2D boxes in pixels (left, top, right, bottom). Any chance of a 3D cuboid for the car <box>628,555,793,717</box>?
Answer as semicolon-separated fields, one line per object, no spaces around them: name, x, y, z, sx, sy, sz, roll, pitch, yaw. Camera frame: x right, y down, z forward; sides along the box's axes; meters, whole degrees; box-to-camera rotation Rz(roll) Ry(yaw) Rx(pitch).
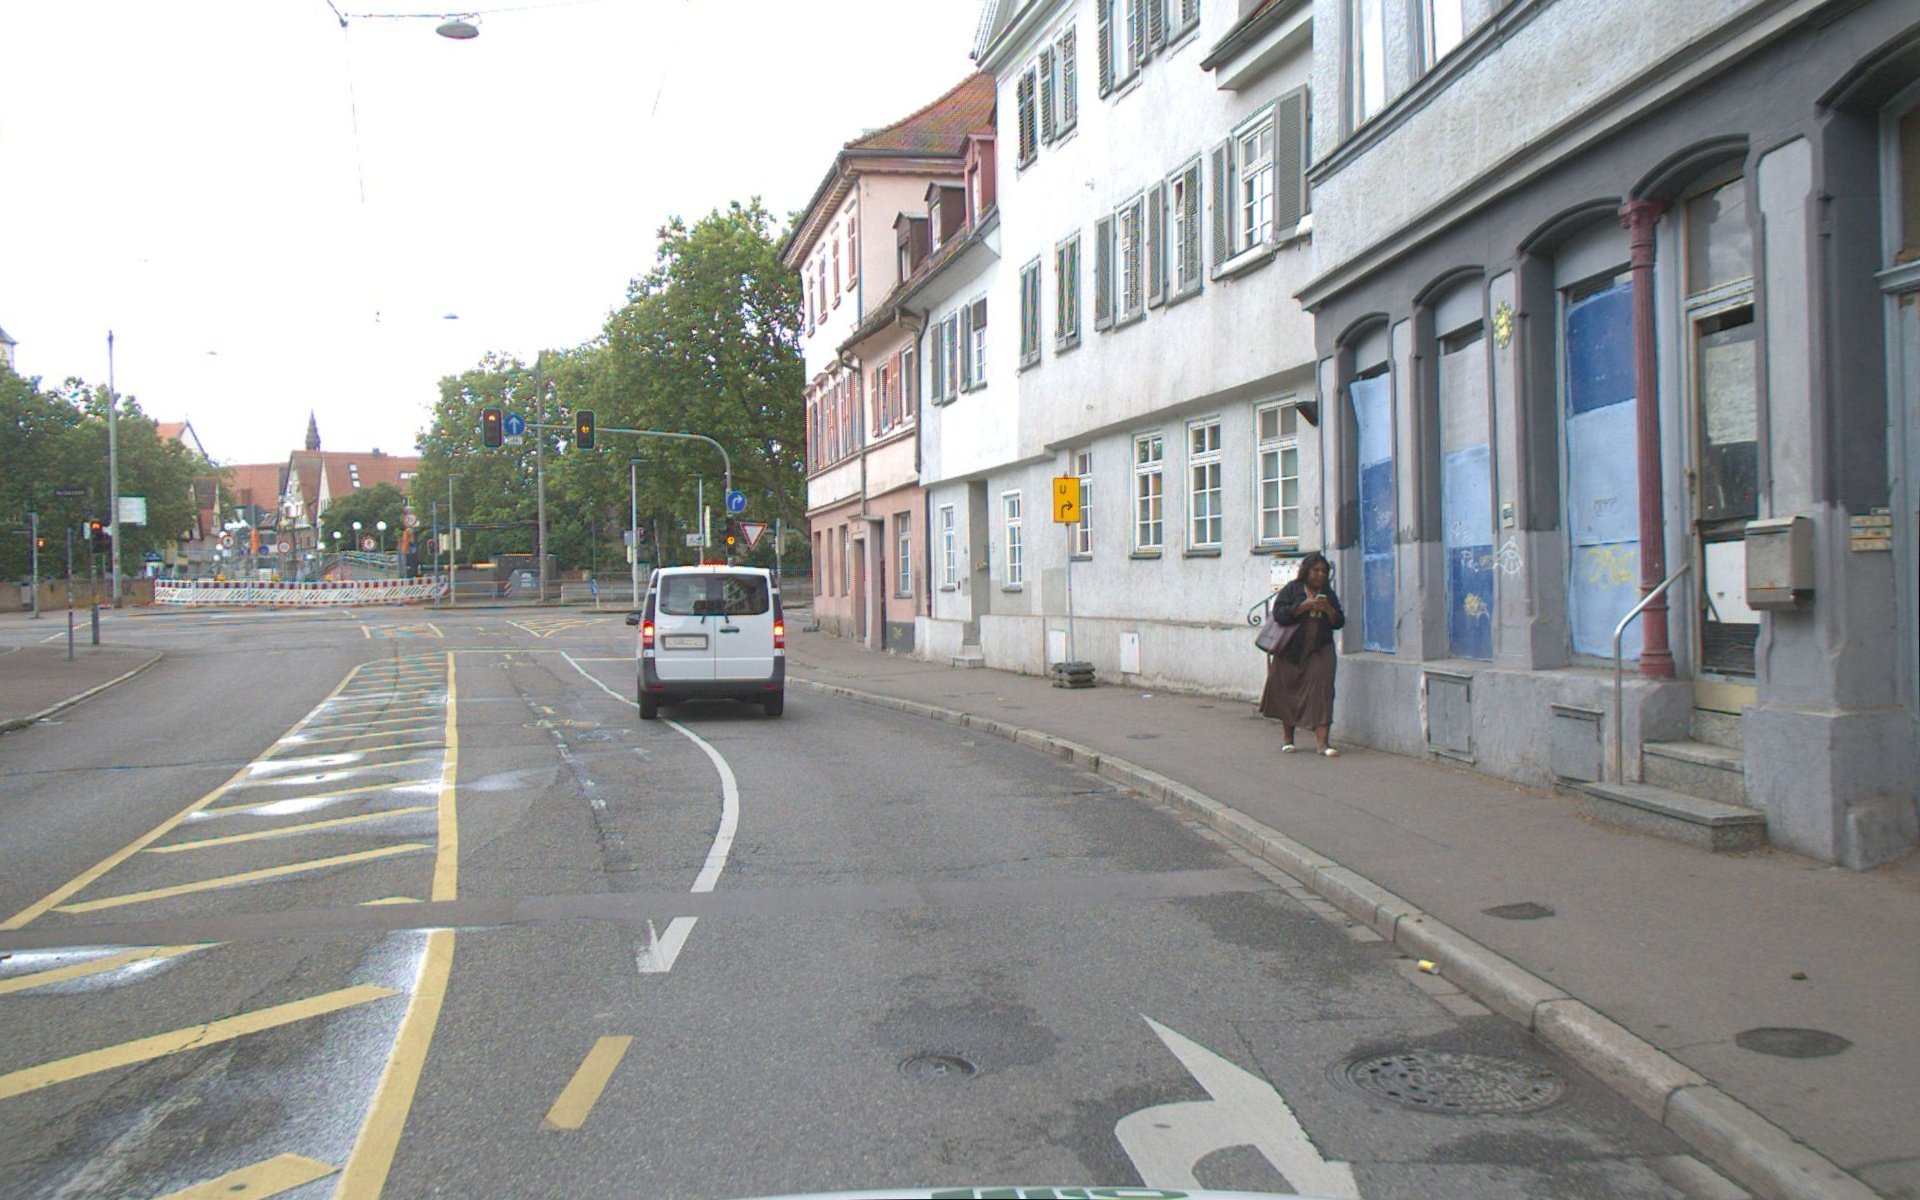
car;-3.451;0.447;22.272;1.958;1.957;4.236;0;0;-12

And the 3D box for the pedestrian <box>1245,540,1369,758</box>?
pedestrian;2.851;0.383;13.646;0.740;1.696;0.809;-4;1;-2
